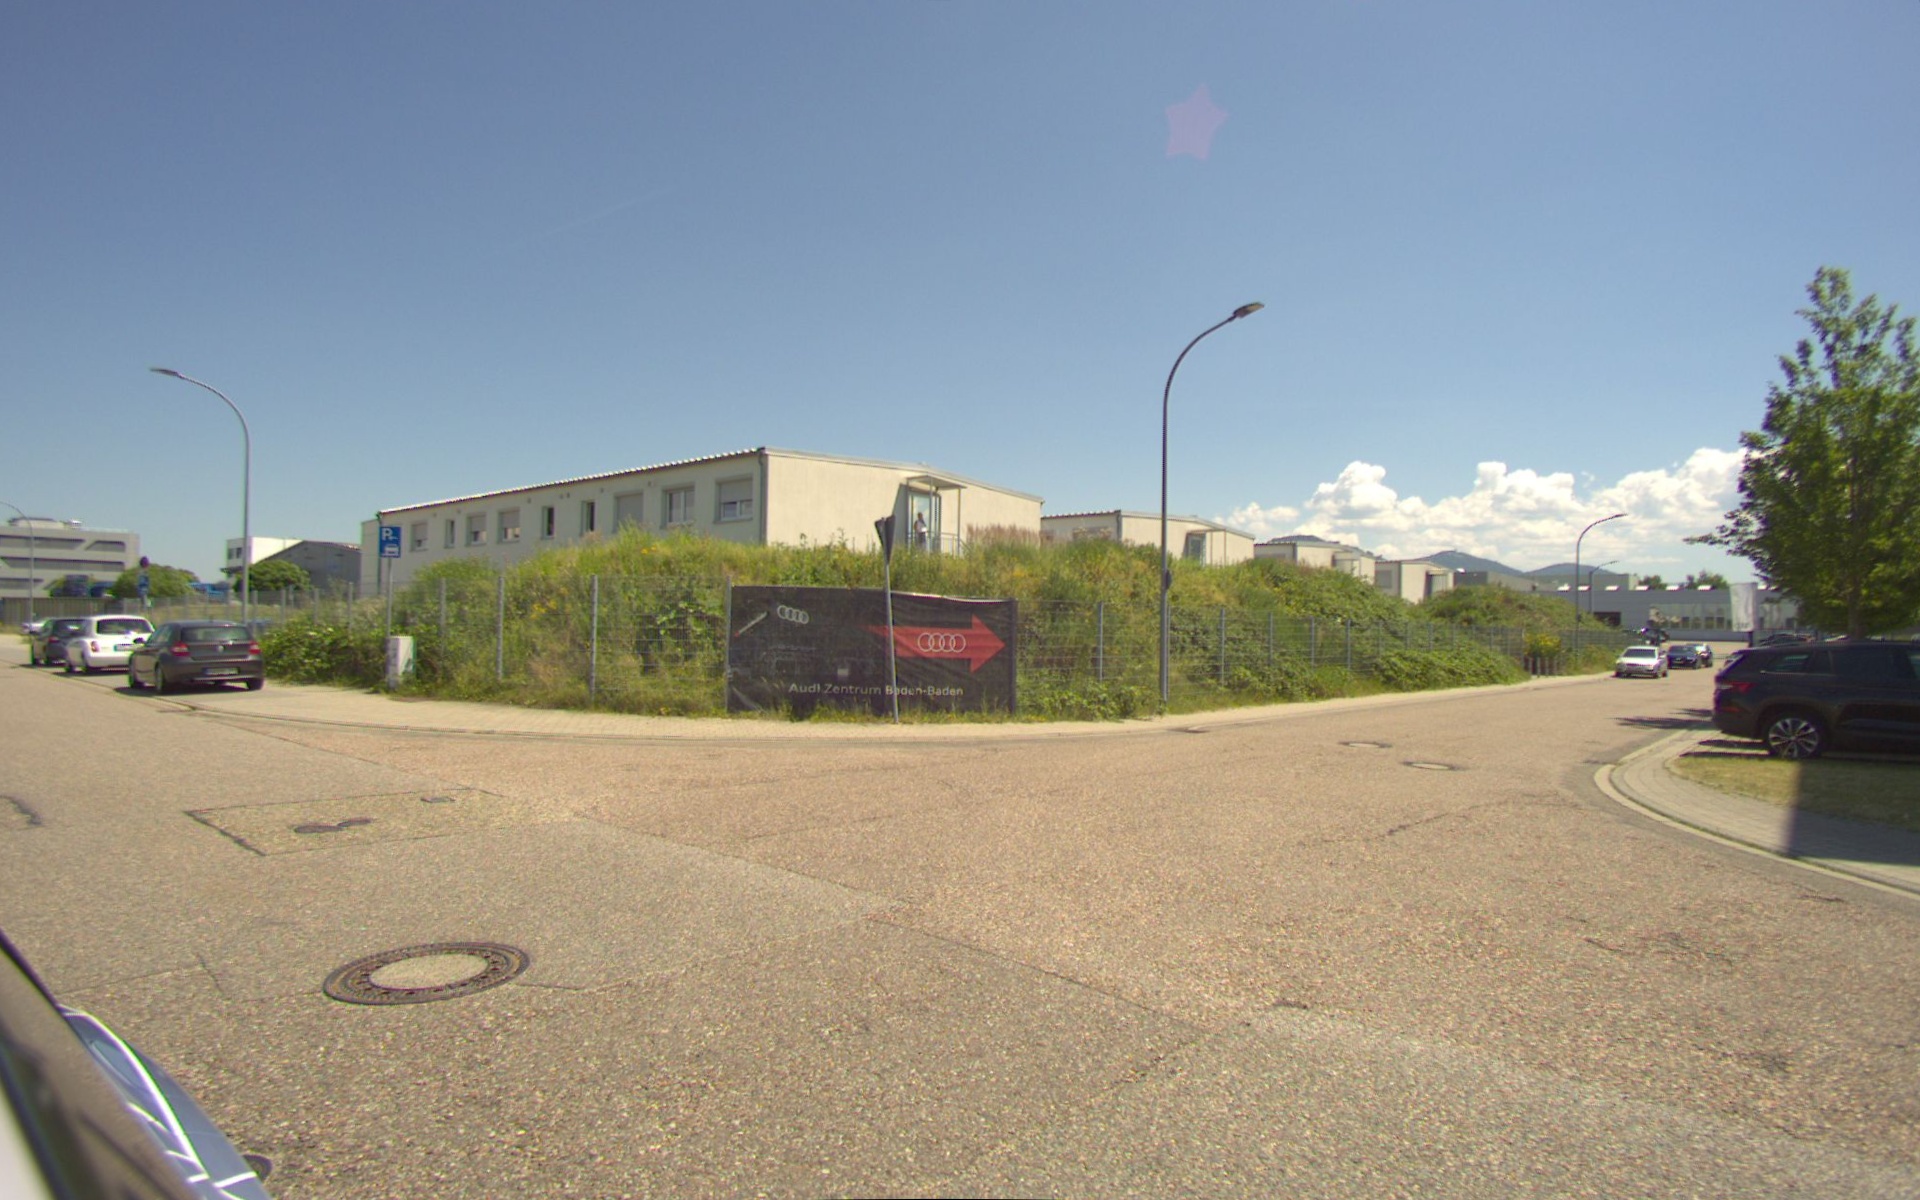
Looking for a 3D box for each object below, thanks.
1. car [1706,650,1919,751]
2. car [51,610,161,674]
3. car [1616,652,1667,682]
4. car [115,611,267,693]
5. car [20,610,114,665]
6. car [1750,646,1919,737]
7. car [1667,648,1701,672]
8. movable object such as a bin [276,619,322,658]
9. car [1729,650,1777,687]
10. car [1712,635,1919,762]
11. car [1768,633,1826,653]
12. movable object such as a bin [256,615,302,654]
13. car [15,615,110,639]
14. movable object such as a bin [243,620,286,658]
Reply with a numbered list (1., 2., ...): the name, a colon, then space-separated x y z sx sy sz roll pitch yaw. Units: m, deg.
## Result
1. car: 14.344 1.522 15.670 4.254 1.458 1.785 -5 -5 43
2. car: -22.711 1.072 26.866 3.756 1.541 1.656 0 -1 41
3. car: 33.234 3.232 49.336 1.656 1.311 3.946 0 -1 40
4. car: -15.789 0.999 20.715 4.067 1.461 1.656 0 -1 41
5. car: -27.483 1.104 31.113 3.907 1.541 1.656 0 0 41
6. car: 16.595 1.592 17.900 3.933 1.535 1.661 -5 -5 43
7. car: 44.260 3.671 61.826 1.443 1.354 3.262 0 -2 40
8. movable object such as a bin: -24.835 1.423 38.025 1.388 1.416 1.130 0 -1 43
9. car: 38.335 3.276 48.916 1.697 1.573 3.785 0 -2 40
10. car: 13.007 1.285 13.210 4.902 1.605 1.785 -5 -7 43
11. car: 75.011 3.850 90.731 3.997 1.608 1.779 0 1 40
12. movable object such as a bin: -26.305 1.330 39.095 1.386 1.459 1.078 0 -1 36
13. car: -55.701 1.689 62.849 1.862 1.390 4.201 0 -2 42
14. movable object such as a bin: -27.541 1.521 40.084 1.371 1.459 1.112 0 -1 44
